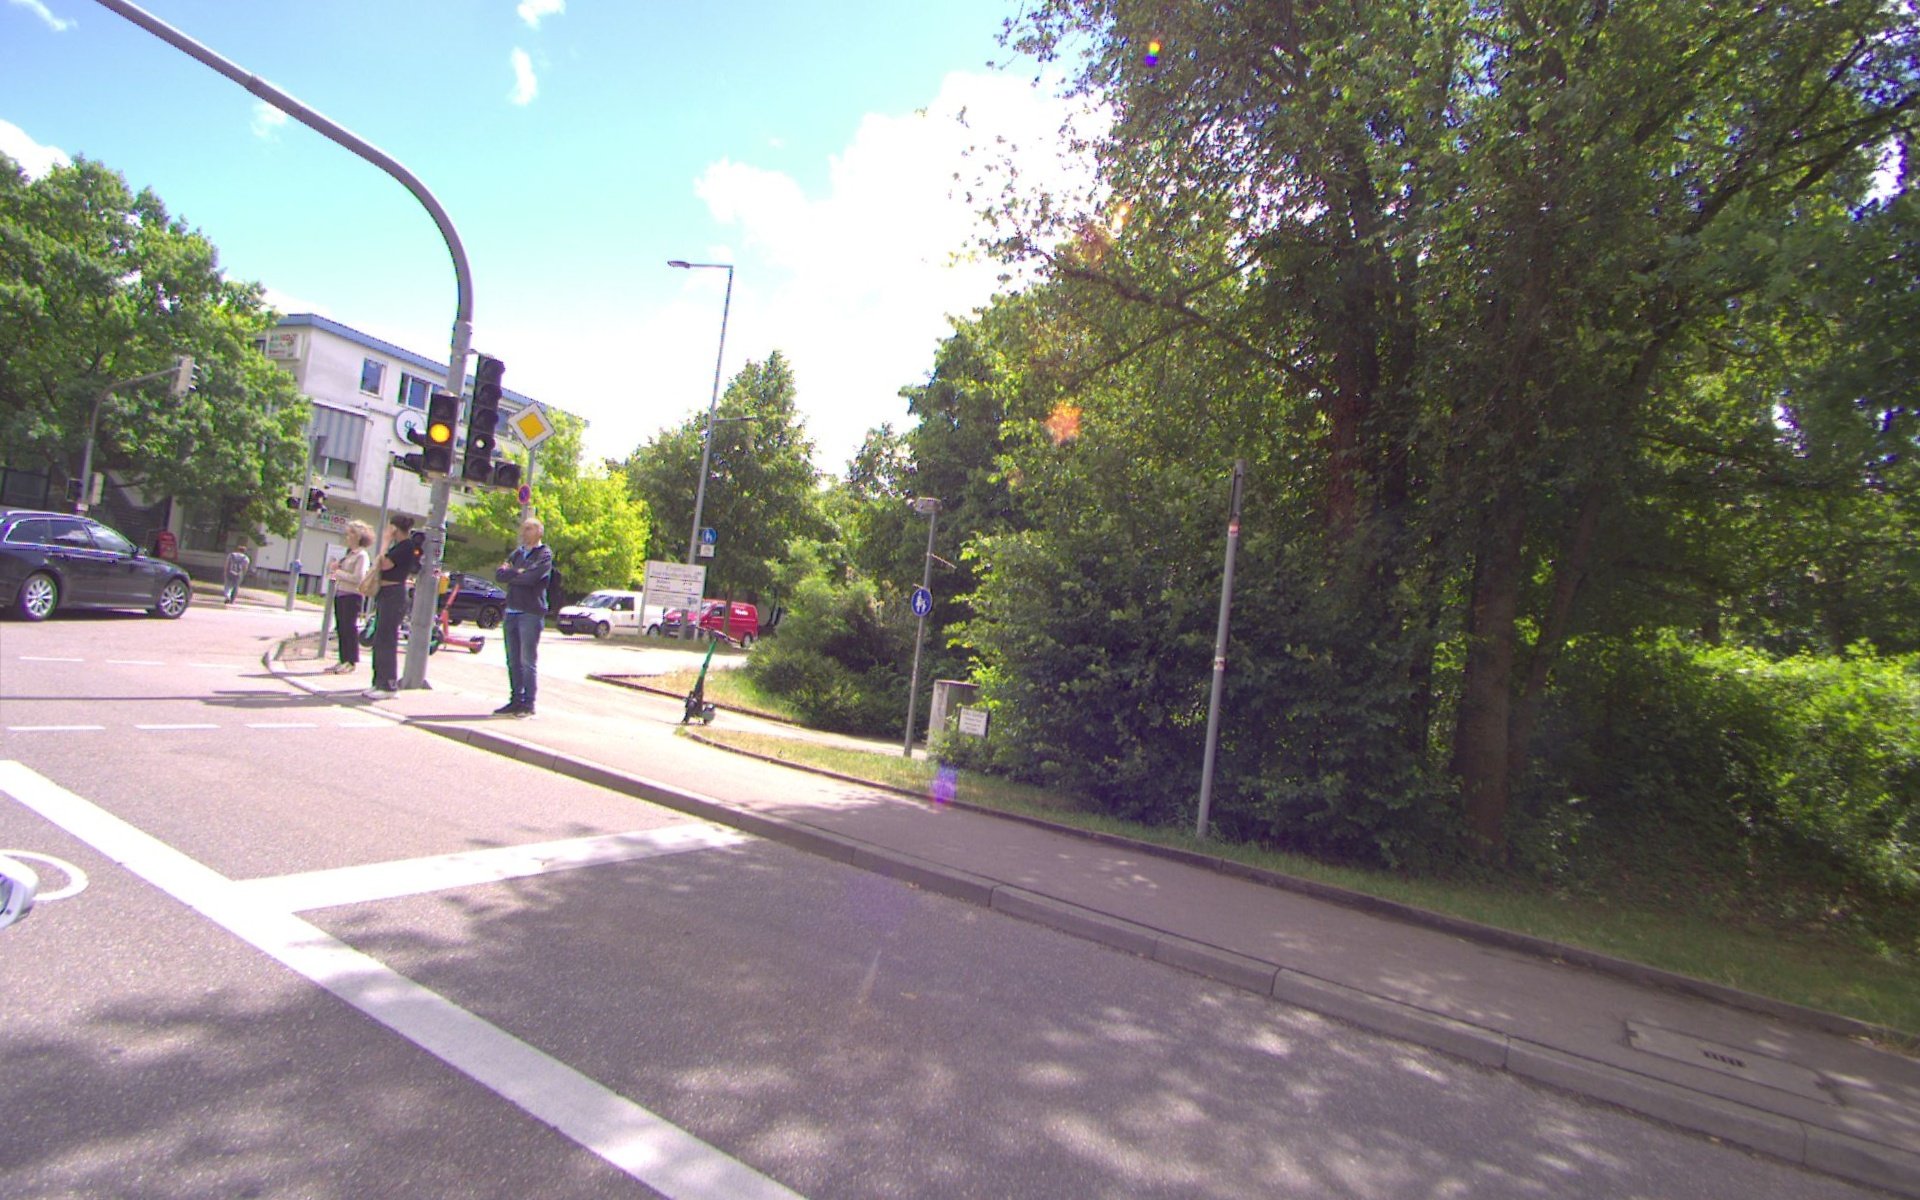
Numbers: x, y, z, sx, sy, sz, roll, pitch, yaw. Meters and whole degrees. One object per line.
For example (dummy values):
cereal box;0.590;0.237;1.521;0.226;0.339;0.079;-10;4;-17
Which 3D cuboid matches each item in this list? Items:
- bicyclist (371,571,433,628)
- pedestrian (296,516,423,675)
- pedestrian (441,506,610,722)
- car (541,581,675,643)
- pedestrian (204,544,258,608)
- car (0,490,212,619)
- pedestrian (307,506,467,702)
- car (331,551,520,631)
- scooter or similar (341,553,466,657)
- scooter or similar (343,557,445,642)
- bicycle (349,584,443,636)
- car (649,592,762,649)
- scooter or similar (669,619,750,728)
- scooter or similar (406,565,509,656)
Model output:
bicyclist;-11.568;-0.007;20.862;0.625;1.034;0.794;7;-2;28
pedestrian;-6.918;-0.052;11.594;0.950;1.694;0.860;7;-1;-43
pedestrian;-4.291;0.161;9.978;0.881;1.964;0.968;7;-1;28
car;-12.929;0.505;37.243;1.963;1.737;4.576;7;-2;23
pedestrian;-20.581;-0.671;28.411;0.892;1.662;0.770;7;-2;32
car;-13.036;-0.640;14.158;1.966;1.571;4.518;7;-2;-8
pedestrian;-5.657;0.056;9.969;0.758;1.787;0.936;7;0;20
car;-15.787;-0.210;29.994;1.964;1.737;4.574;7;-2;25
scooter or similar;-7.876;0.097;14.277;0.455;1.292;1.344;8;-1;38
scooter or similar;-8.936;0.025;15.941;0.533;1.168;1.362;9;-3;7
bicycle;-11.736;0.199;20.940;1.776;0.828;0.794;7;-2;28
car;-10.606;0.897;42.355;1.964;1.885;4.822;5;-3;23
scooter or similar;-3.339;1.002;13.523;0.706;1.287;1.243;10;-7;-7
scooter or similar;-7.927;0.189;15.909;0.547;1.254;1.231;8;-3;23
